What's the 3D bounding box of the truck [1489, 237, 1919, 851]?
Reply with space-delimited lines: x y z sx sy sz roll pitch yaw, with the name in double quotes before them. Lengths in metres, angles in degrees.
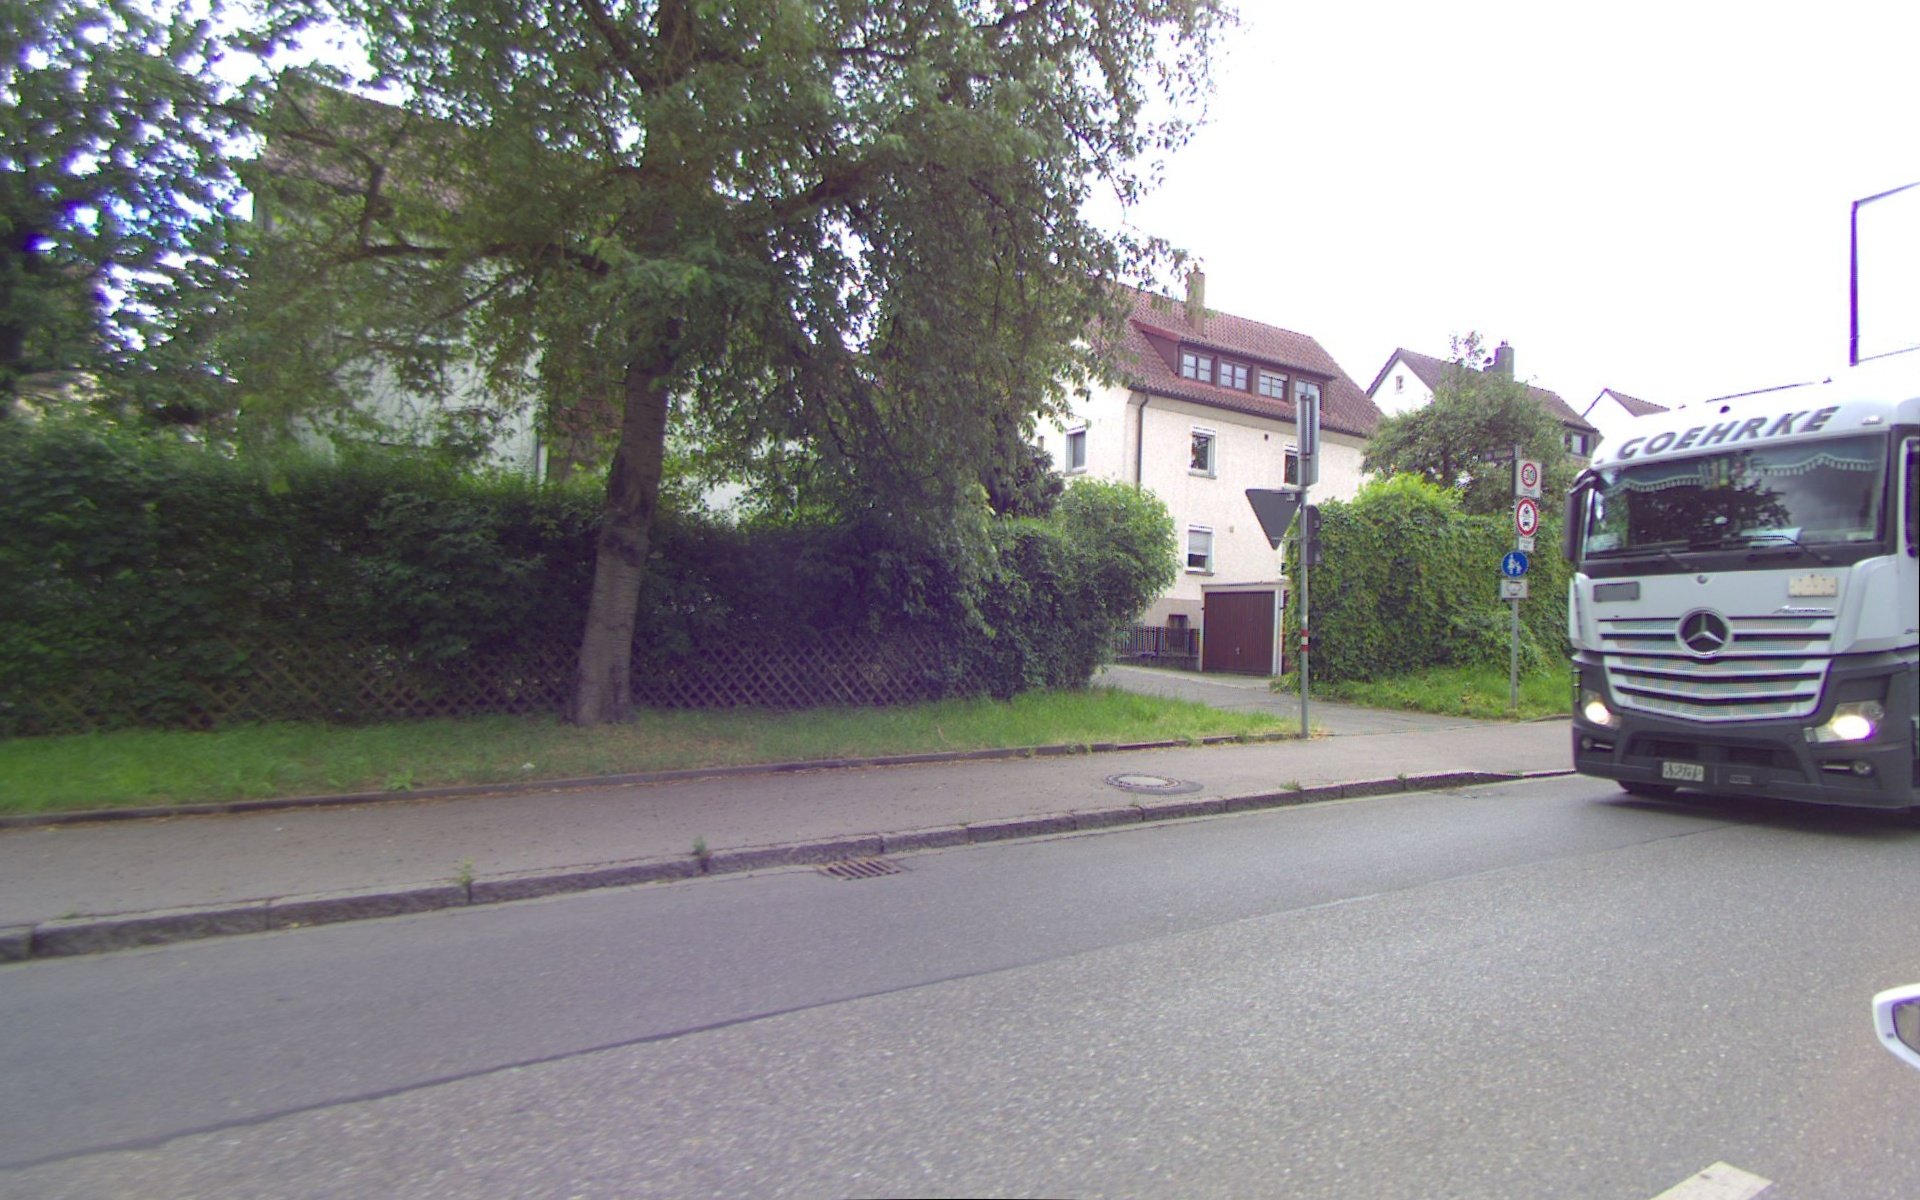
"truck" 9.808 -0.163 10.531 10.501 4.096 2.537 2 -4 -32
